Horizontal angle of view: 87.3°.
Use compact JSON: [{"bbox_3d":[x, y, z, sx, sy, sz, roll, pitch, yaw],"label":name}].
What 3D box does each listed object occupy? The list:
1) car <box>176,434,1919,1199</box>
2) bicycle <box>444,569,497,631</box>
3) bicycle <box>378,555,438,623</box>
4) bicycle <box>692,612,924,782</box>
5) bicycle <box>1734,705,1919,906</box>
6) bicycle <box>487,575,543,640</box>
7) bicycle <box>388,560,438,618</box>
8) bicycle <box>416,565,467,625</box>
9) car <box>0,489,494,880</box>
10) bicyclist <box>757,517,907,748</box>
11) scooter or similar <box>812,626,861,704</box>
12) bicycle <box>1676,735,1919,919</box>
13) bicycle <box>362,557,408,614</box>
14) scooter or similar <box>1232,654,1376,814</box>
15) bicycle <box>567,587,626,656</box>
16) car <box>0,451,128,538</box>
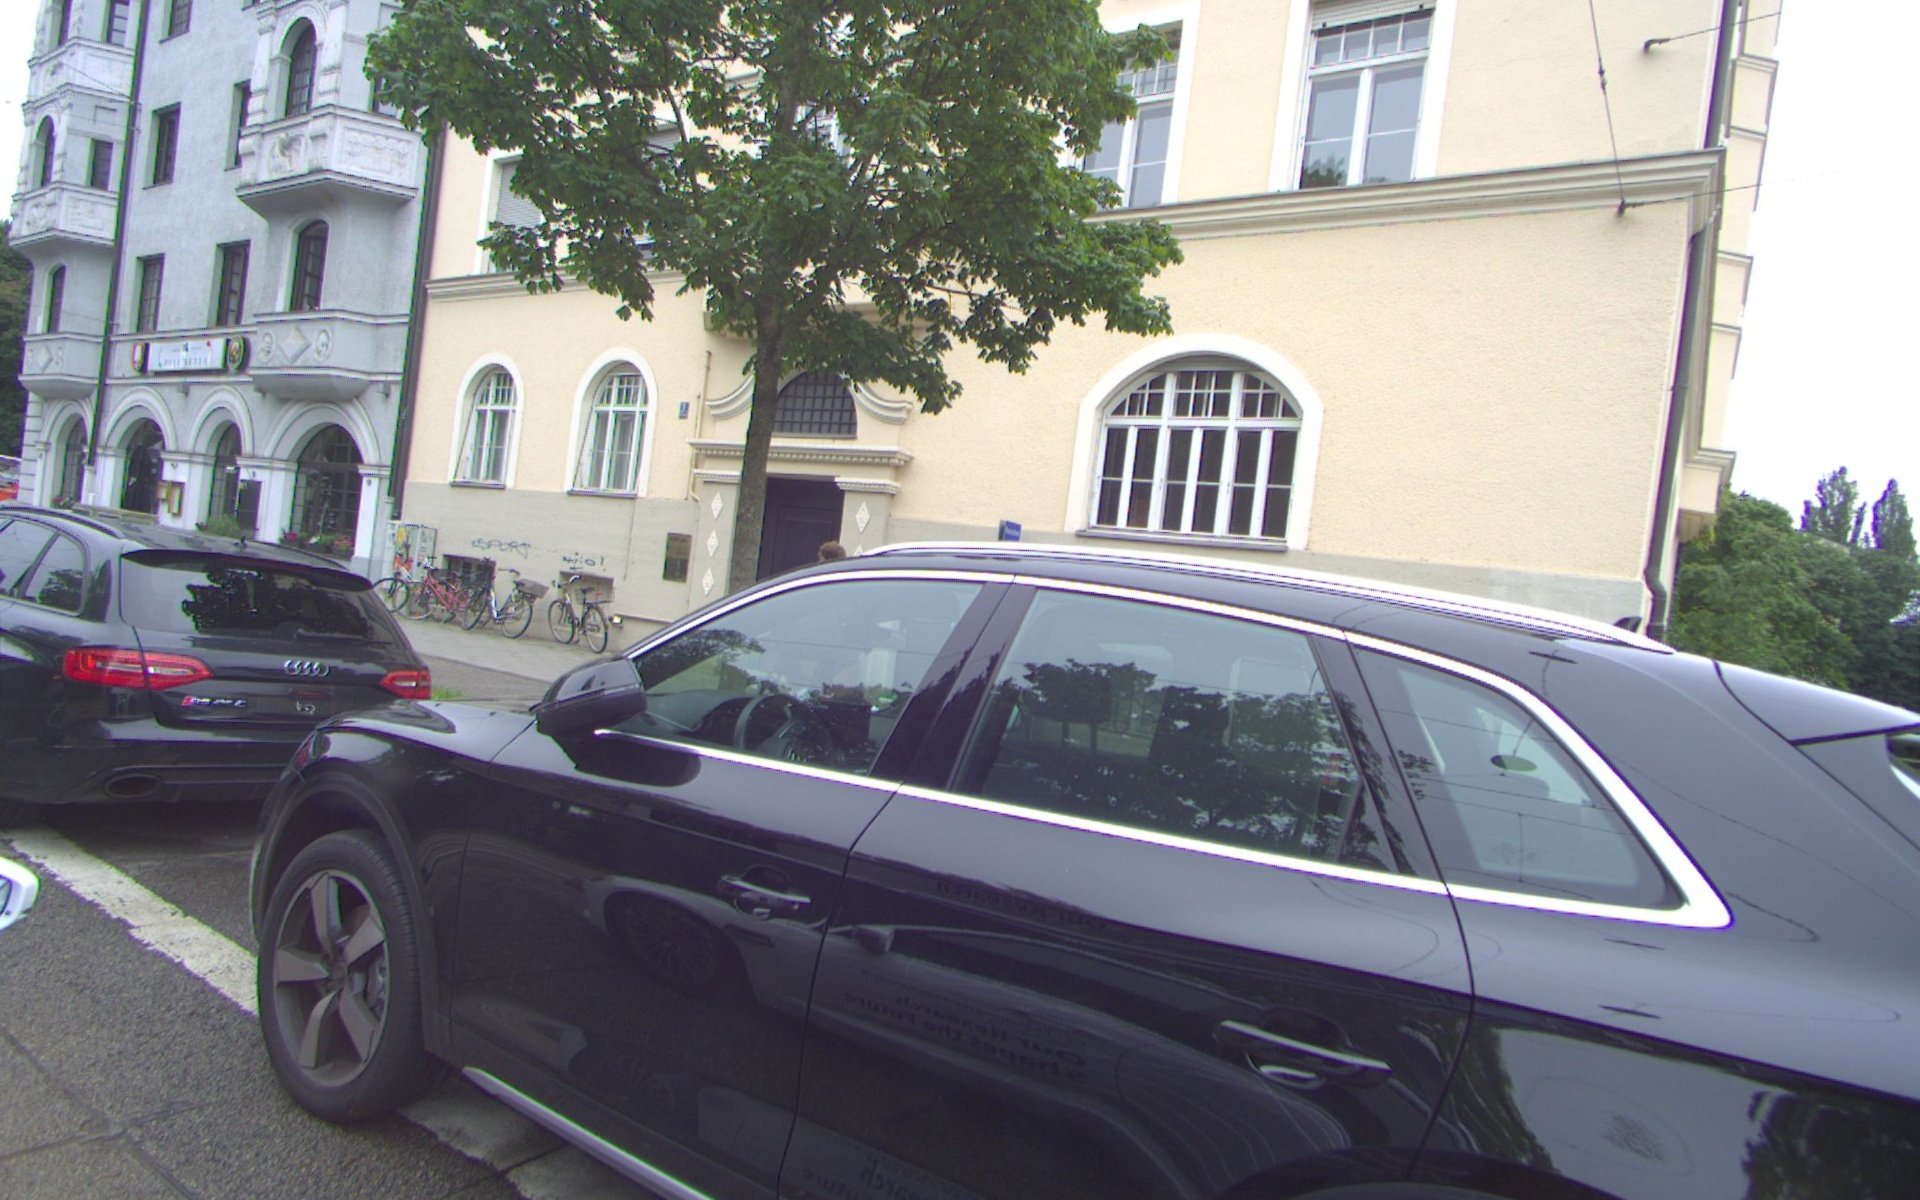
[{"bbox_3d":[0.138,0.657,2.503,4.414,1.677,1.777,7,-2,32],"label":"car"},{"bbox_3d":[-8.257,-0.006,16.959,0.871,0.941,0.273,7,-1,33],"label":"bicycle"},{"bbox_3d":[-9.537,-0.194,17.372,1.203,1.051,0.242,7,-1,32],"label":"bicycle"},{"bbox_3d":[-1.291,0.755,8.366,1.880,1.093,0.579,7,2,31],"label":"bicycle"},{"bbox_3d":[6.981,1.581,7.700,1.511,1.327,0.332,7,-1,30],"label":"bicycle"},{"bbox_3d":[-7.177,0.119,16.217,0.871,0.941,0.285,7,-1,33],"label":"bicycle"},{"bbox_3d":[-9.809,-0.204,18.040,0.871,0.941,0.291,7,-1,33],"label":"bicycle"},{"bbox_3d":[-9.031,-0.093,17.513,0.871,0.941,0.306,7,-1,34],"label":"bicycle"},{"bbox_3d":[-4.891,0.200,5.707,4.525,1.442,1.720,7,-2,31],"label":"car"},{"bbox_3d":[-1.038,0.271,8.251,0.714,1.749,0.726,7,-1,31],"label":"bicyclist"},{"bbox_3d":[-1.554,0.822,12.713,0.413,0.921,0.348,7,-1,11],"label":"scooter or similar"},{"bbox_3d":[6.554,1.736,7.864,1.417,1.119,0.287,7,0,24],"label":"bicycle"},{"bbox_3d":[-10.591,-0.268,18.524,0.871,0.941,0.259,7,-1,33],"label":"bicycle"},{"bbox_3d":[3.277,1.254,9.622,1.123,1.328,0.262,7,-1,32],"label":"scooter or similar"},{"bbox_3d":[-5.506,0.324,15.235,0.871,0.941,0.222,7,-1,31],"label":"bicycle"},{"bbox_3d":[-36.494,-4.254,39.432,2.192,2.642,5.311,7,-2,29],"label":"car"}]
